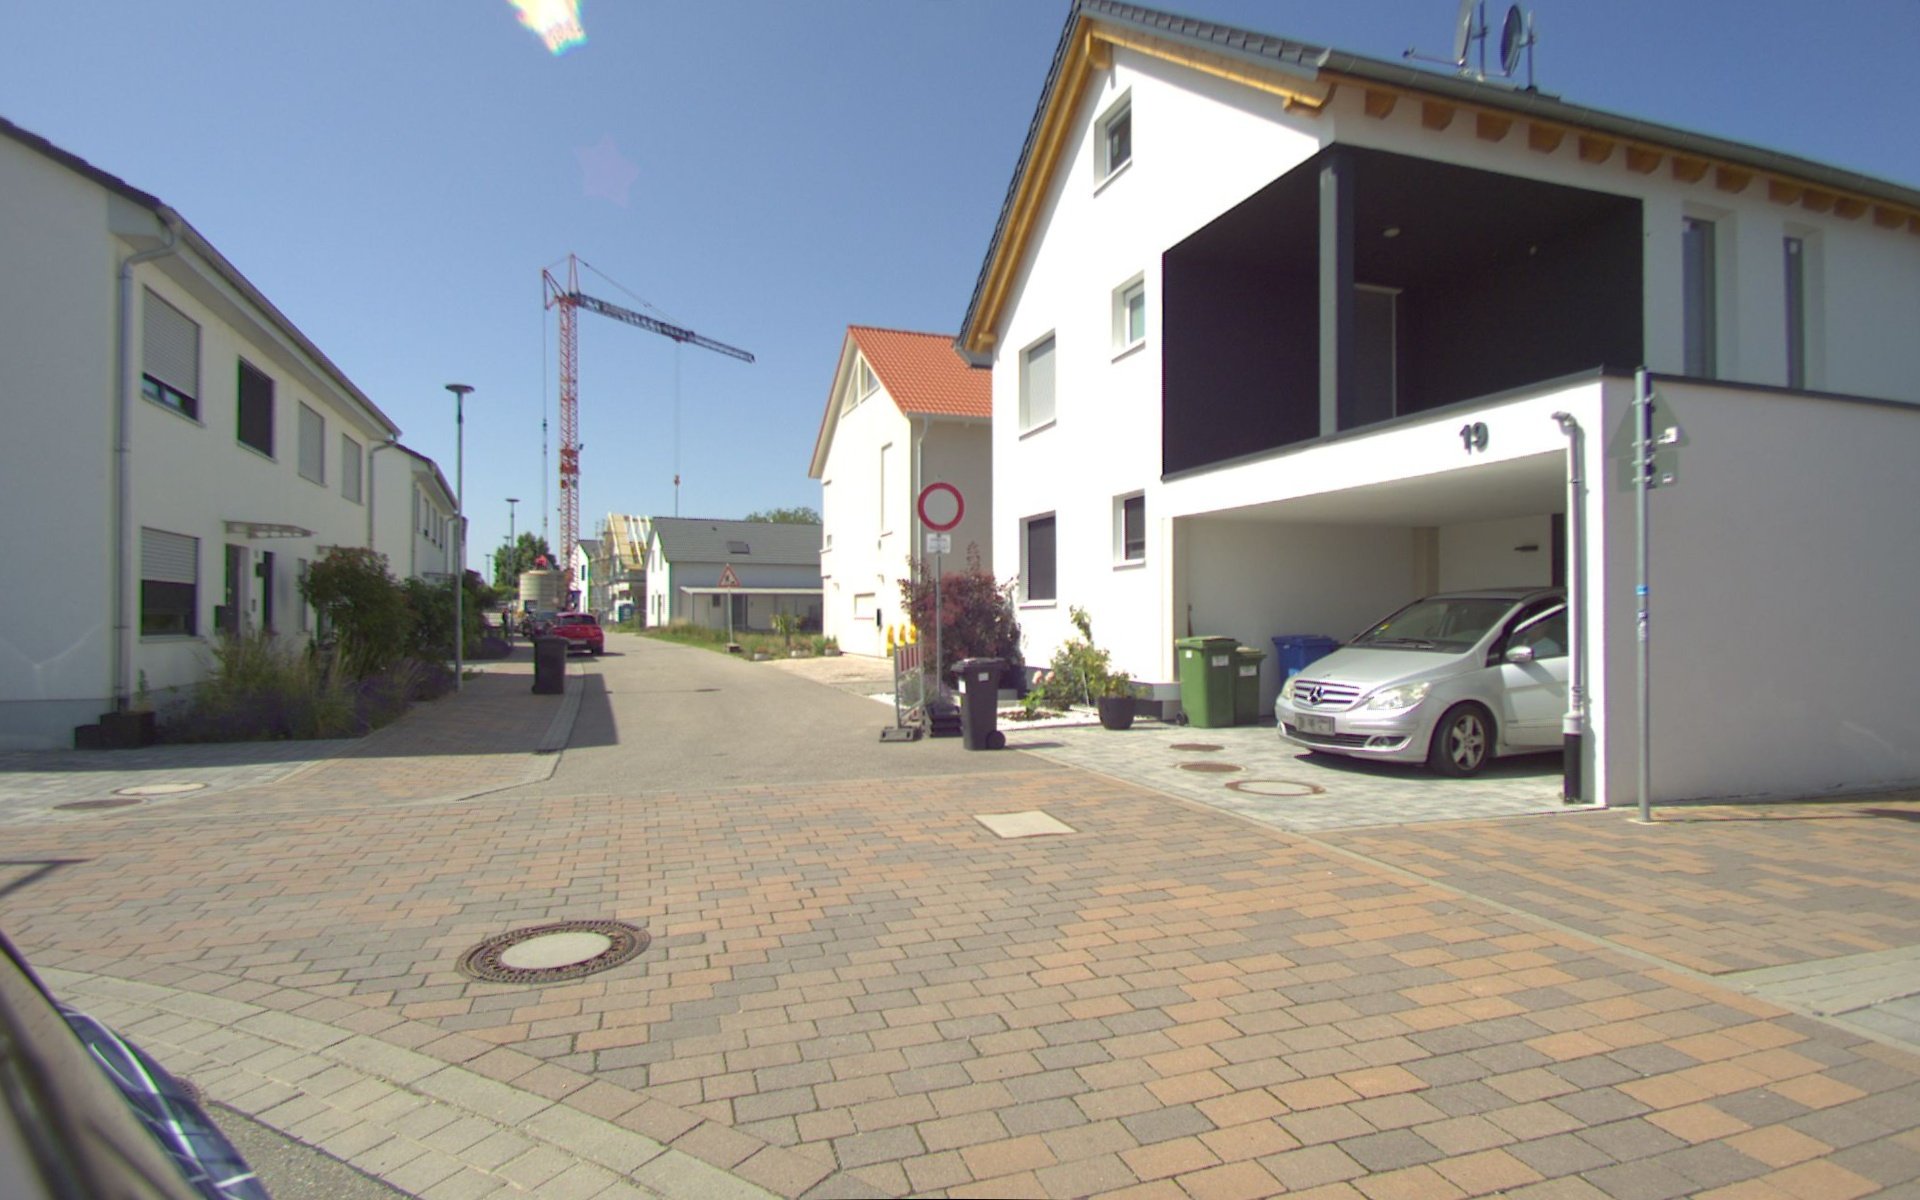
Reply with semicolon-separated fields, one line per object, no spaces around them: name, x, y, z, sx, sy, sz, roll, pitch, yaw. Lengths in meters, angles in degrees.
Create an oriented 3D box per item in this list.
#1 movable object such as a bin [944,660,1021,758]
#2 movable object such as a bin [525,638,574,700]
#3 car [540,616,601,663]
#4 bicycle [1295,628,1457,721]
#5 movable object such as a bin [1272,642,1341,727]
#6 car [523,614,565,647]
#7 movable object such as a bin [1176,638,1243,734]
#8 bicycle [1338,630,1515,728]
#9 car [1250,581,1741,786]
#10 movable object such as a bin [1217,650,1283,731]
movable object such as a bin;0.225;1.110;10.455;0.608;0.944;0.566;0;-2;-21
movable object such as a bin;-7.533;1.256;18.600;0.810;1.072;0.592;0;0;-21
car;-13.627;1.325;35.435;1.879;1.490;4.013;0;0;-21
bicycle;5.584;0.960;13.583;2.096;1.135;0.782;0;0;-24
movable object such as a bin;4.335;1.037;12.671;0.491;0.994;0.679;0;0;-21
car;-21.933;1.551;53.340;1.772;1.630;3.688;0;0;-27
movable object such as a bin;2.973;1.015;12.085;0.491;1.100;0.603;0;-3;-21
bicycle;5.855;0.957;12.706;2.096;1.135;0.733;0;0;-20
car;4.917;0.683;9.328;4.093;1.574;1.751;1;-2;-22
movable object such as a bin;3.512;1.082;12.266;0.491;0.912;0.563;-2;-1;-21
